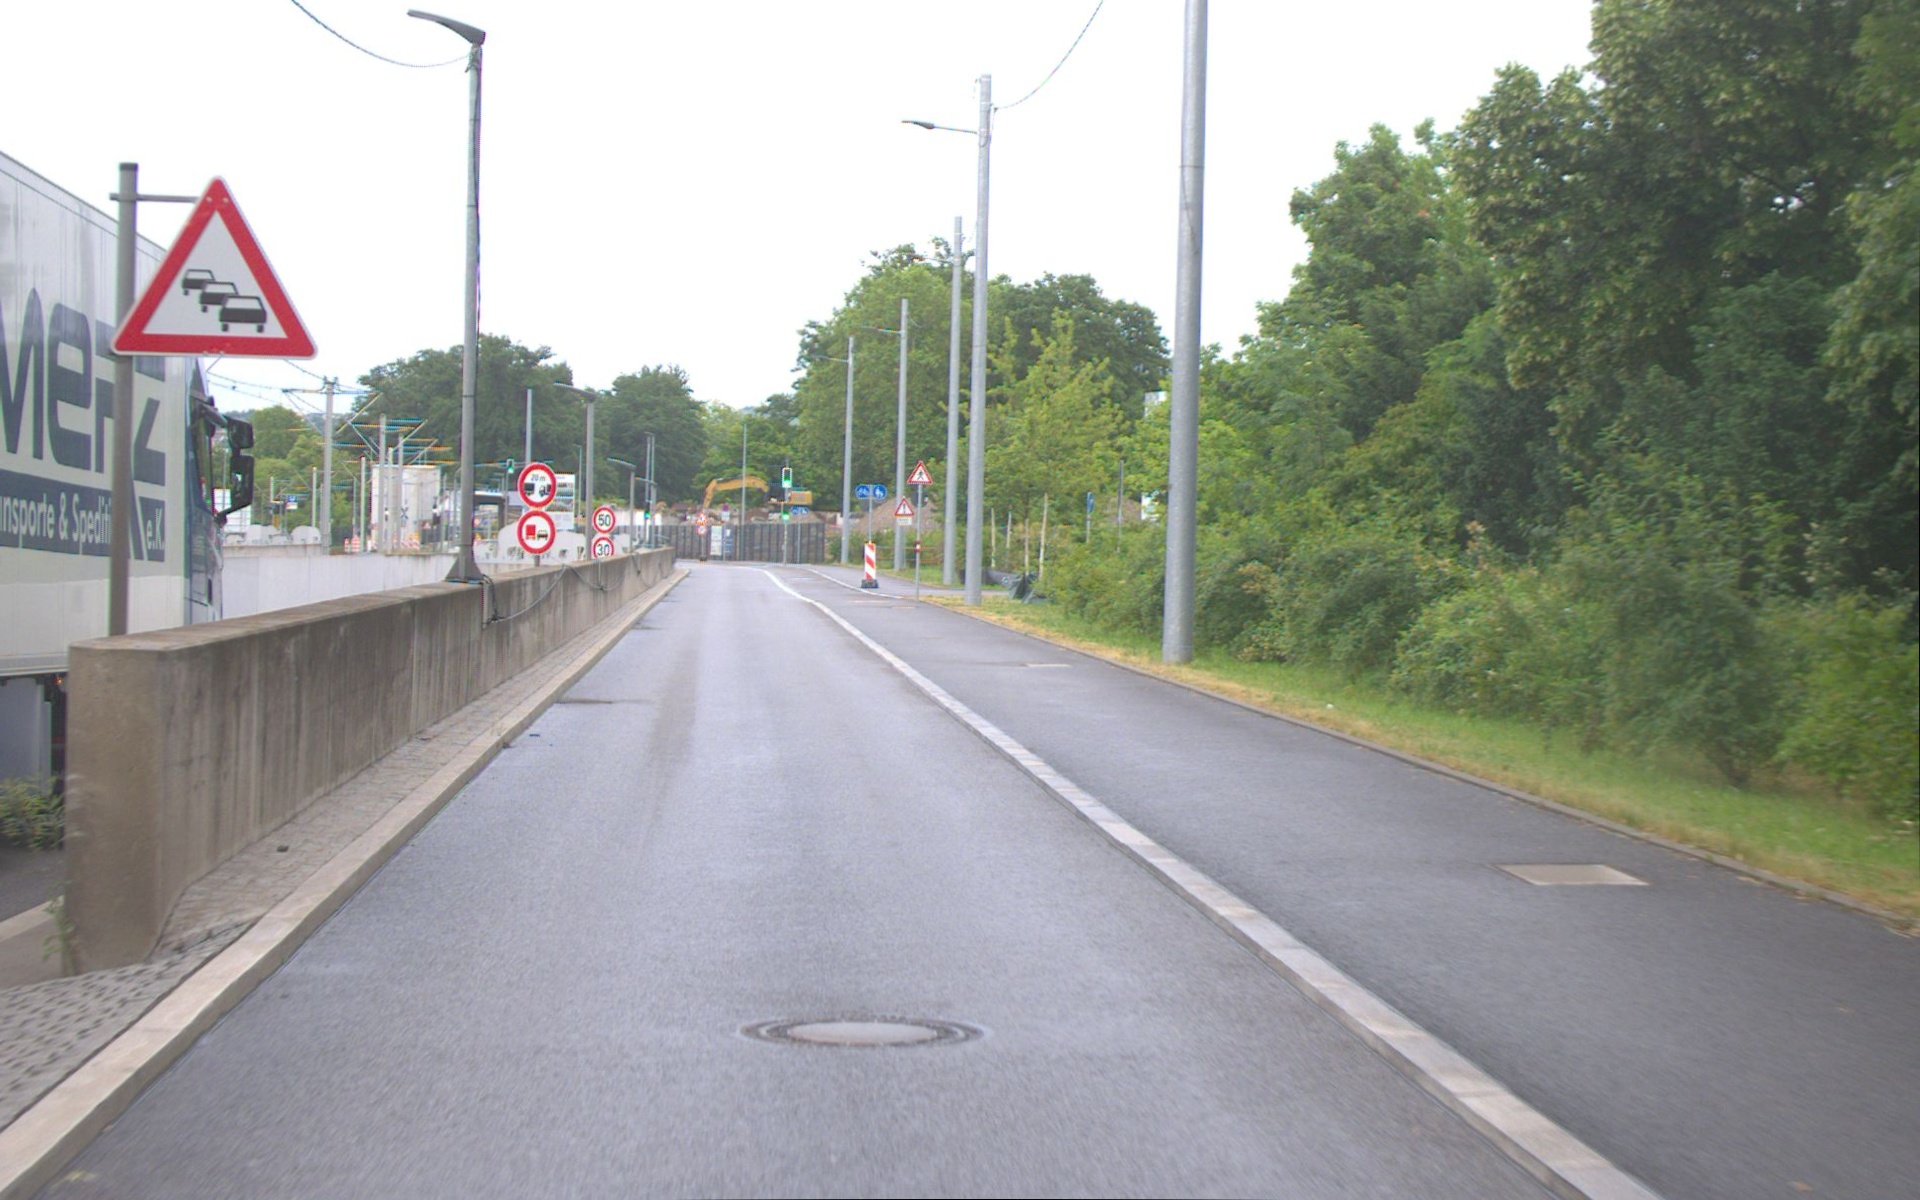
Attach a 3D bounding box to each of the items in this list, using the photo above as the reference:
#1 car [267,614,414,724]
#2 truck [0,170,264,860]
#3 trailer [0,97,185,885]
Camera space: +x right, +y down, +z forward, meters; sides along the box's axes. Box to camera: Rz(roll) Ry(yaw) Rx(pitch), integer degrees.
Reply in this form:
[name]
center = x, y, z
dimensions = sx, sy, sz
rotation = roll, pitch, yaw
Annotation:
[car]
center = -9.510, 1.036, 53.028
dimensions = 1.809, 1.419, 4.001
rotation = 0, 3, -4
[truck]
center = -6.789, -0.580, 24.000
dimensions = 2.756, 4.190, 6.307
rotation = 0, 1, -2
[trailer]
center = -6.492, -0.558, 17.256
dimensions = 2.762, 4.238, 13.185
rotation = 0, 1, -3
